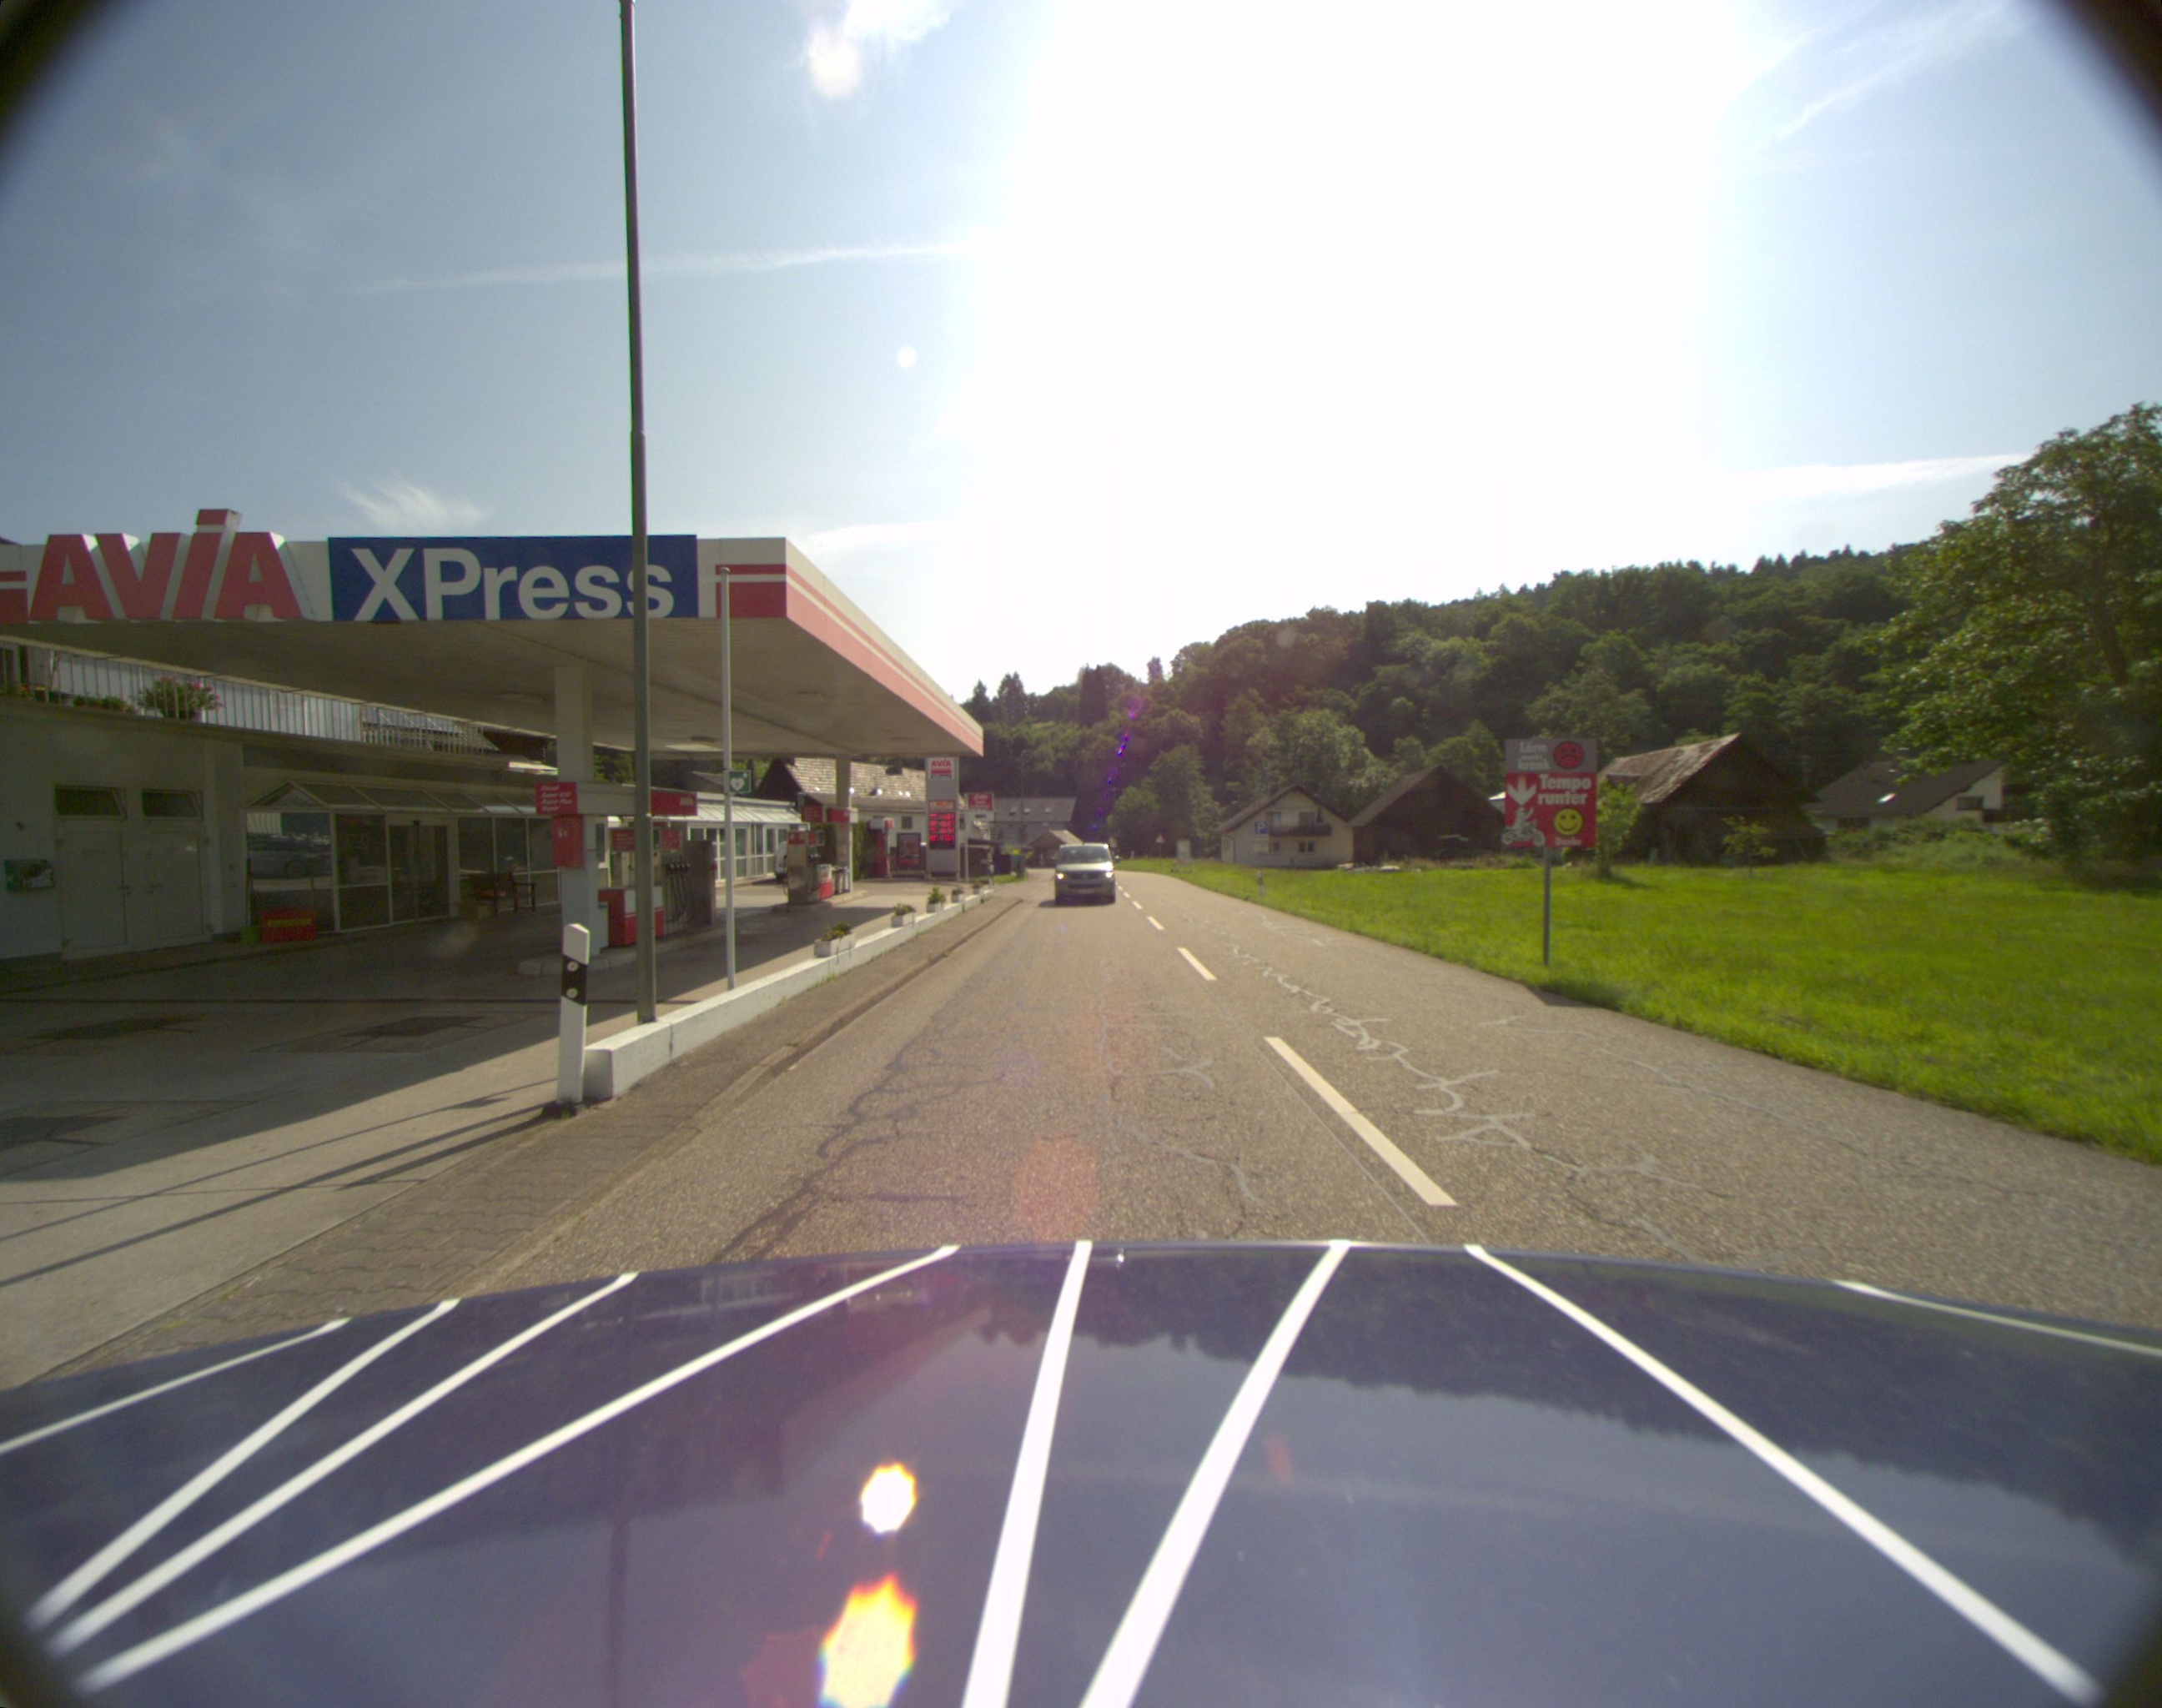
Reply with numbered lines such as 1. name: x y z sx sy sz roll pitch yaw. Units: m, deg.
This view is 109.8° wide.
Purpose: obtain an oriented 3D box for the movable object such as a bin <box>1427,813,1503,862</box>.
1. movable object such as a bin: 25.693 -1.101 50.986 4.185 3.119 2.205 -1 1 15

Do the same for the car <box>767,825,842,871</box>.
1. car: -11.841 -0.298 32.823 1.684 1.806 3.998 -2 2 0

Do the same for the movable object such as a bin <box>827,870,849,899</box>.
1. movable object such as a bin: -7.274 0.904 22.764 0.481 0.840 0.528 -1 1 -2

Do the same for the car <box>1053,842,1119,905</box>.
1. car: 0.099 0.588 26.223 2.024 1.970 5.047 0 0 -1

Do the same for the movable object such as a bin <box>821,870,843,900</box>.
1. movable object such as a bin: -7.279 0.907 22.224 0.481 0.840 0.496 -1 1 -2

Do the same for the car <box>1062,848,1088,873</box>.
1. car: -0.522 0.480 59.176 1.896 1.846 4.702 -1 0 -2
